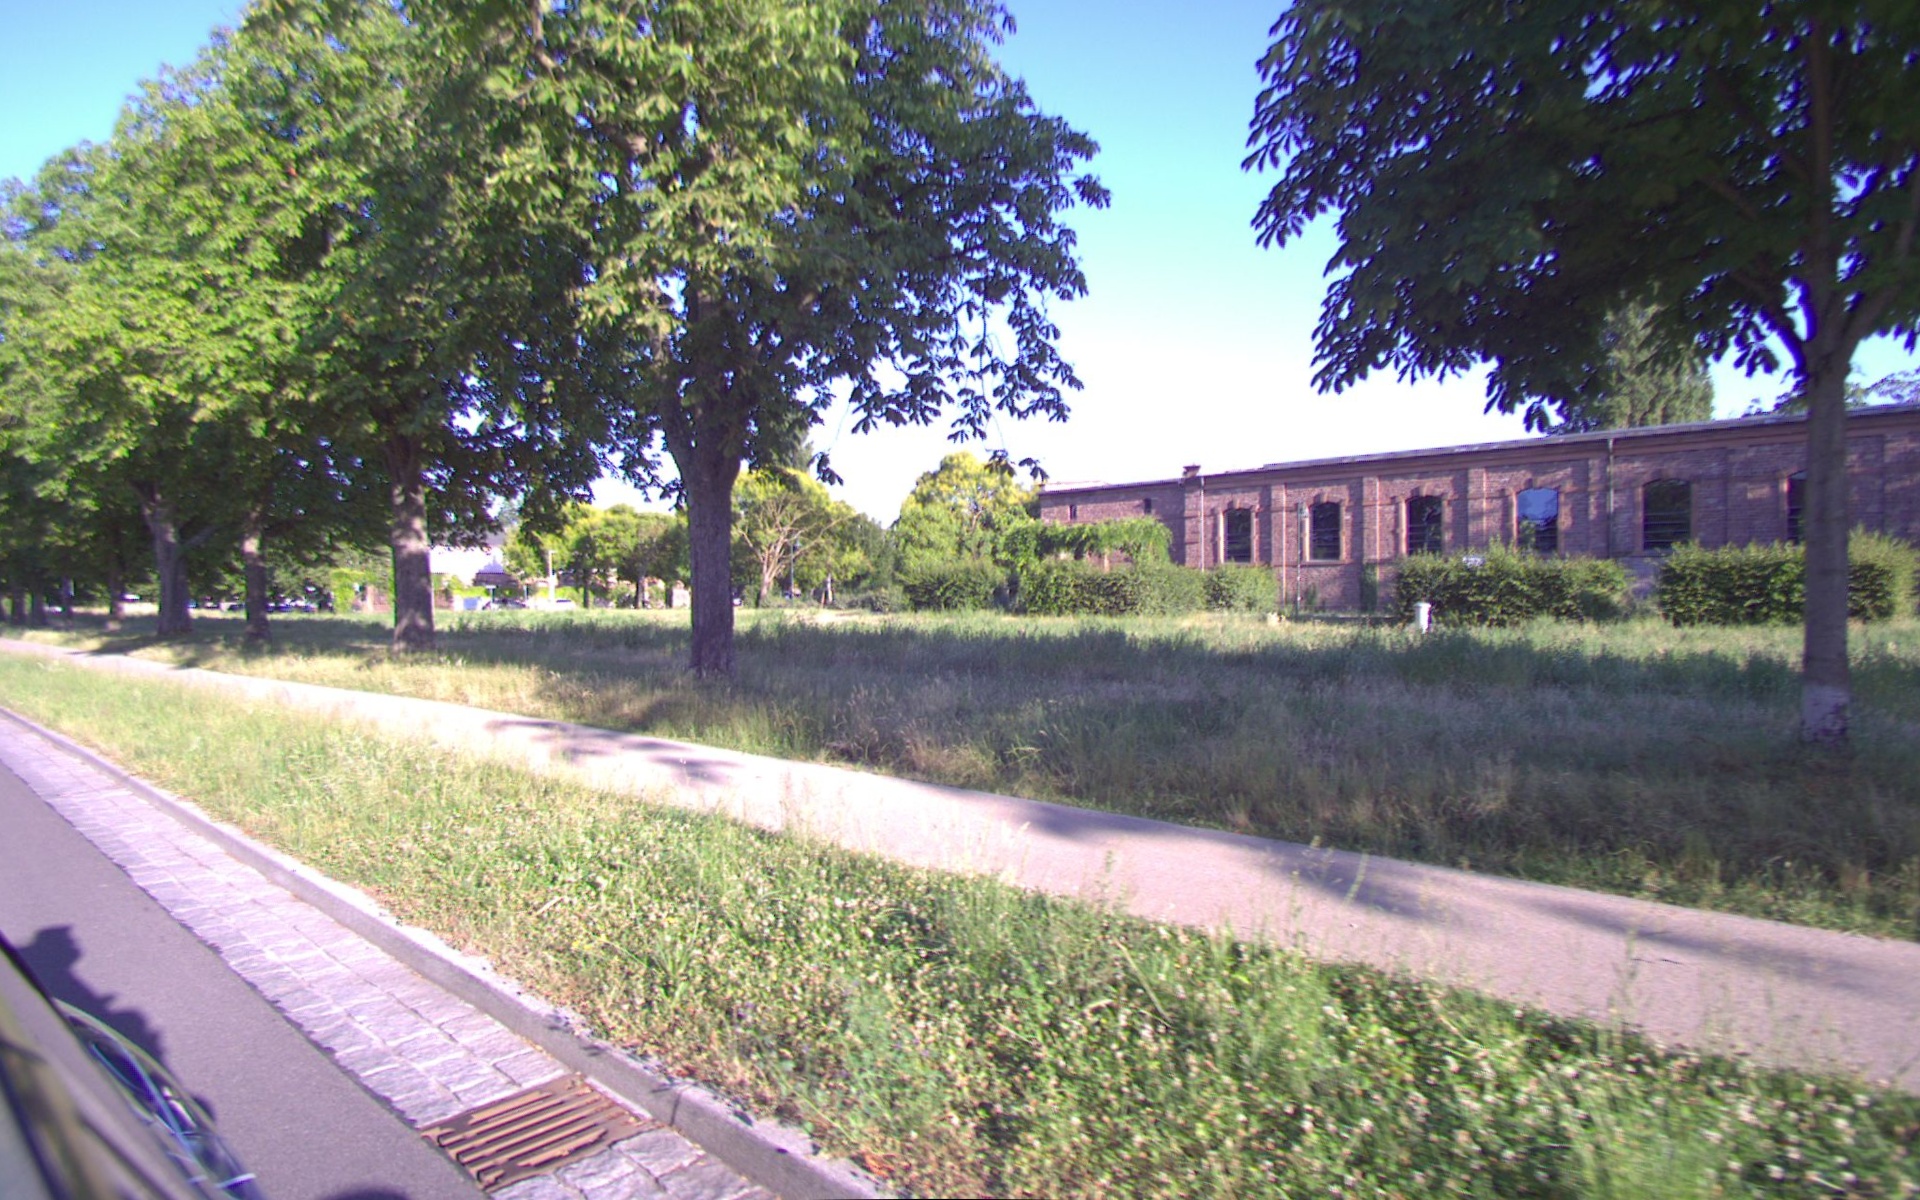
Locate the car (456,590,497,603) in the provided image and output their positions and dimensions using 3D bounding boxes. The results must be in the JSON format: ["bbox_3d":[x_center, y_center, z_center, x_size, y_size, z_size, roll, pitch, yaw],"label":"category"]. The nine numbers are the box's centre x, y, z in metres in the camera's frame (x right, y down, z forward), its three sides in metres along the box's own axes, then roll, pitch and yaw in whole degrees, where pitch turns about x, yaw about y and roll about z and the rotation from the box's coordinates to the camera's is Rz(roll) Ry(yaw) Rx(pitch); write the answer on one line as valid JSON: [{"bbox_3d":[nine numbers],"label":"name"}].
[{"bbox_3d":[-51.822,-0.387,108.499,1.586,1.289,3.589,0,2,42],"label":"car"}]

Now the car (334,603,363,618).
[{"bbox_3d":[-71.473,1.244,118.192,3.998,1.641,1.744,-1,1,41],"label":"car"}]

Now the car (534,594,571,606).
[{"bbox_3d":[-46.579,-0.033,115.576,1.586,1.289,3.589,0,2,42],"label":"car"}]

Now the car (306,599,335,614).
[{"bbox_3d":[-67.144,0.662,106.246,3.639,1.492,1.564,0,1,42],"label":"car"}]
